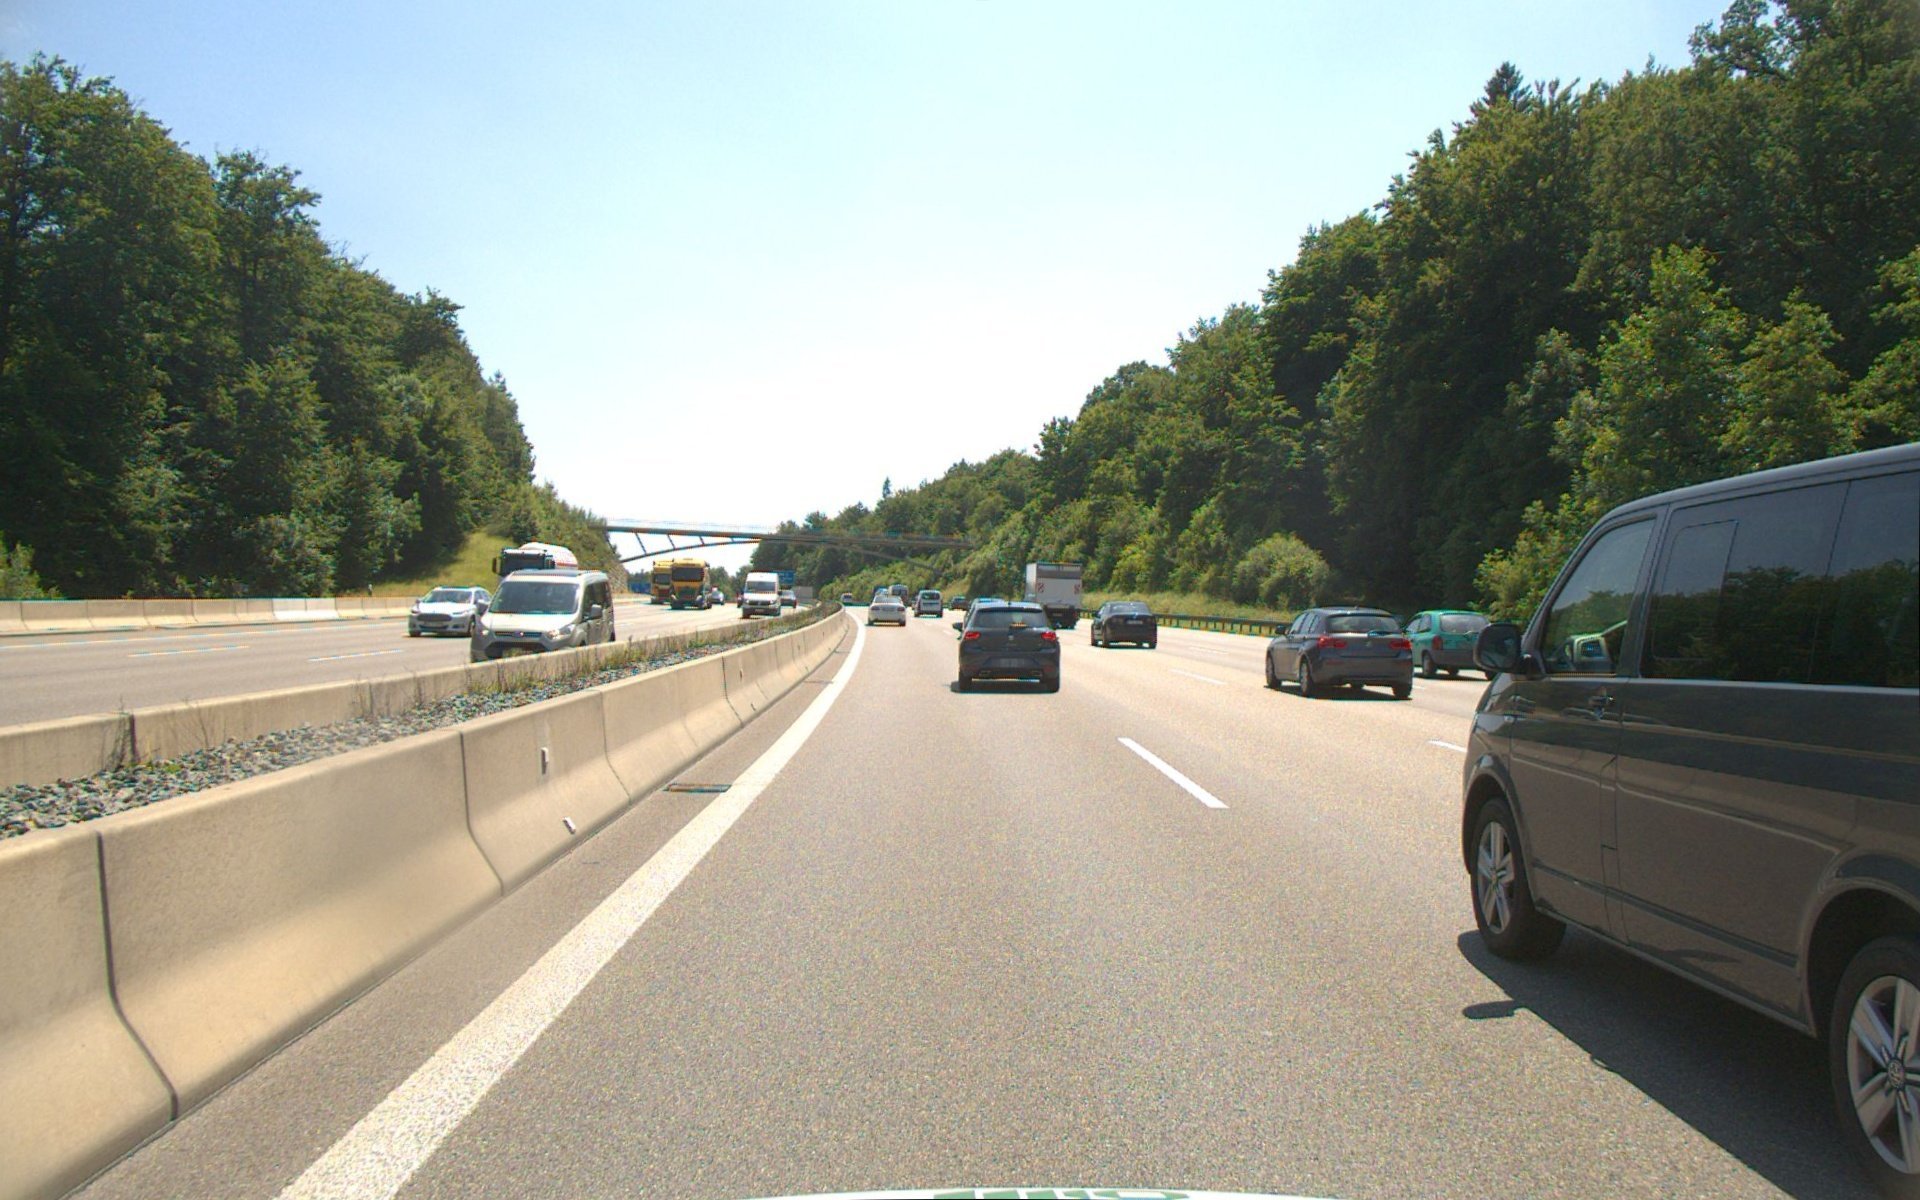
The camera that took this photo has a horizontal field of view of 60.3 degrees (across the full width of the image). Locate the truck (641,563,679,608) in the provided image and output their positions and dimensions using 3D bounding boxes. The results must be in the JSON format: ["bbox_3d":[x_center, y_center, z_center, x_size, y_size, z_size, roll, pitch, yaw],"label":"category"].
[{"bbox_3d":[-28.385,-1.376,156.531,2.696,4.088,6.747,1,0,-4],"label":"truck"}]

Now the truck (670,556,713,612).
[{"bbox_3d":[-20.125,-1.187,124.412,2.481,4.009,6.796,1,0,-4],"label":"truck"}]

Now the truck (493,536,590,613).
[{"bbox_3d":[-20.832,-1.192,82.972,2.557,3.526,9.877,2,0,-2],"label":"truck"}]

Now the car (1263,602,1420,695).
[{"bbox_3d":[6.394,0.770,28.128,1.667,1.420,4.153,1,0,-1],"label":"car"}]

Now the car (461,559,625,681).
[{"bbox_3d":[-7.061,0.317,28.486,1.782,1.904,4.587,1,0,-2],"label":"car"}]

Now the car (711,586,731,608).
[{"bbox_3d":[-24.355,-0.267,168.601,1.610,2.049,3.997,2,-2,-3],"label":"car"}]

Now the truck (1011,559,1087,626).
[{"bbox_3d":[4.542,-0.384,85.662,2.927,3.222,7.568,1,0,-4],"label":"truck"}]

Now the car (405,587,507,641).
[{"bbox_3d":[-15.269,0.409,50.357,1.727,1.508,4.493,2,0,-1],"label":"car"}]

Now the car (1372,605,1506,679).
[{"bbox_3d":[10.493,0.887,36.529,1.514,1.469,4.338,2,-1,-3],"label":"car"}]

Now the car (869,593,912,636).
[{"bbox_3d":[-3.384,0.760,81.284,1.971,1.878,3.998,1,-3,-1],"label":"car"}]

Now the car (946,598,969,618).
[{"bbox_3d":[-0.284,0.782,169.260,2.102,1.890,3.999,2,0,-2],"label":"car"}]

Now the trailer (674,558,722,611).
[{"bbox_3d":[-20.427,-1.154,129.603,2.487,3.948,11.688,1,0,-3],"label":"trailer"}]

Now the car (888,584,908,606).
[{"bbox_3d":[-7.062,-0.584,188.112,2.219,2.413,4.699,1,-1,-2],"label":"car"}]

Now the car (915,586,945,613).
[{"bbox_3d":[-2.098,-0.034,114.454,2.061,1.775,4.686,1,0,-2],"label":"car"}]

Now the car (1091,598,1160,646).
[{"bbox_3d":[5.287,0.667,53.365,1.631,1.433,4.902,1,0,-1],"label":"car"}]

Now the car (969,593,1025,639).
[{"bbox_3d":[1.467,0.681,66.990,1.954,1.758,4.146,1,-2,-3],"label":"car"}]

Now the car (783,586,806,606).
[{"bbox_3d":[-15.450,-0.381,154.555,1.954,1.735,4.950,1,0,-3],"label":"car"}]

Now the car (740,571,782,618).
[{"bbox_3d":[-11.138,-0.302,92.788,2.112,2.533,4.698,1,0,-4],"label":"car"}]

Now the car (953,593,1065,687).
[{"bbox_3d":[0.776,0.645,28.474,1.673,1.458,3.999,2,0,-2],"label":"car"}]

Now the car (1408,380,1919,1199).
[{"bbox_3d":[3.272,0.504,5.739,1.923,2.069,5.081,1,0,-2],"label":"car"}]
